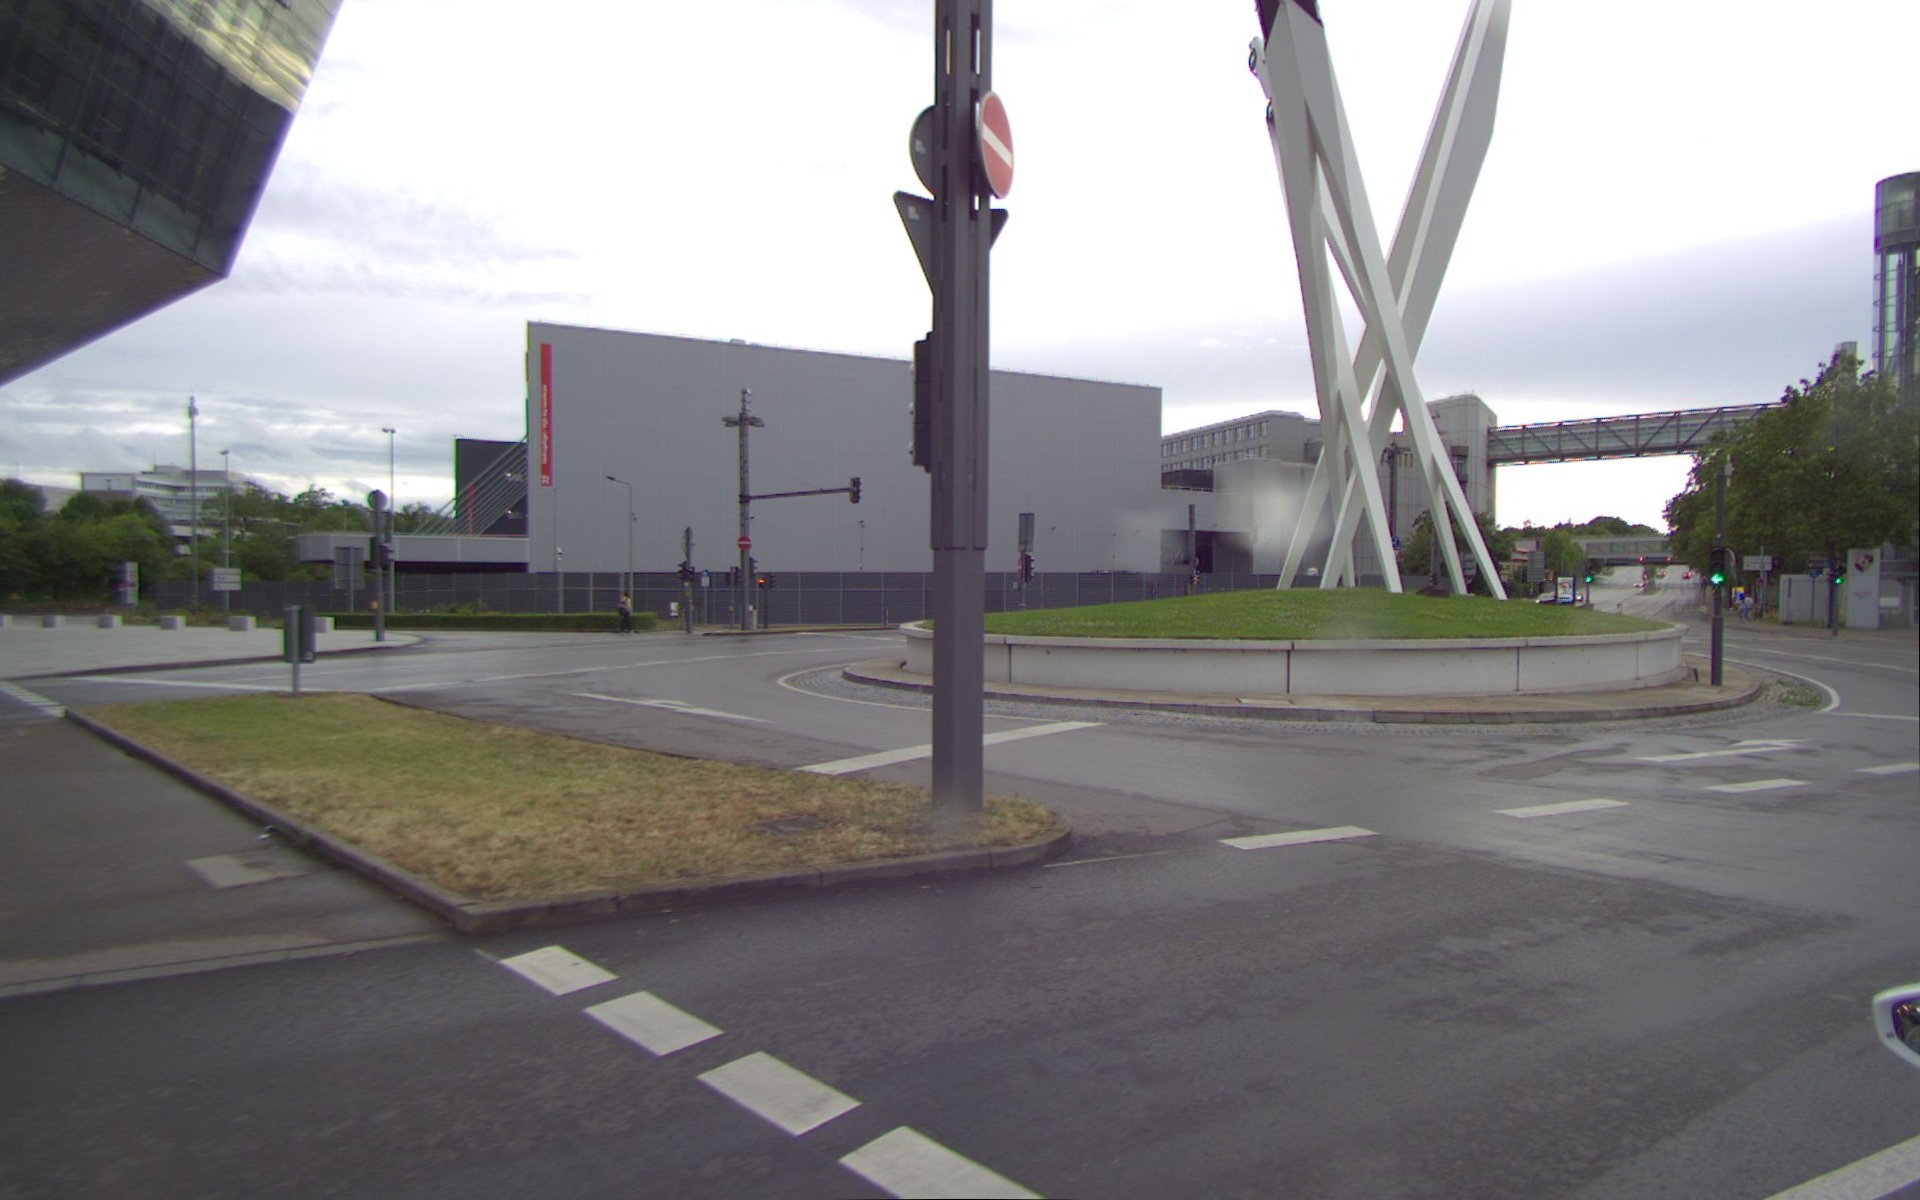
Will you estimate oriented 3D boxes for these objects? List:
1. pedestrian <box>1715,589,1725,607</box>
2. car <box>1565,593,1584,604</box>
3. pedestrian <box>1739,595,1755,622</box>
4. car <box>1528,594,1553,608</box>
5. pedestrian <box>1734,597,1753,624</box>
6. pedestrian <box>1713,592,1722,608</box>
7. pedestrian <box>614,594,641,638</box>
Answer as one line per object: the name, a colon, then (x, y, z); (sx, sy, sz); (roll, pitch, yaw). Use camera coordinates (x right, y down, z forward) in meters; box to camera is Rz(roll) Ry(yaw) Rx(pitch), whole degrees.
pedestrian: (75.832, -0.216, 100.162); (0.702, 1.763, 0.757); (3, 0, 36)
car: (82.583, -0.189, 134.982); (1.760, 1.403, 4.529); (-2, 0, 36)
pedestrian: (47.353, 0.514, 60.406); (0.701, 1.613, 0.836); (1, 1, 41)
car: (60.612, 0.085, 104.860); (1.760, 1.459, 4.379); (1, 1, 37)
pedestrian: (46.133, 0.616, 59.143); (0.822, 1.541, 0.837); (1, 1, 43)
pedestrian: (96.787, -0.051, 128.294); (0.686, 2.040, 0.759); (1, 0, -36)
pedestrian: (-14.071, 0.676, 42.526); (0.636, 1.827, 0.853); (1, 1, 24)
